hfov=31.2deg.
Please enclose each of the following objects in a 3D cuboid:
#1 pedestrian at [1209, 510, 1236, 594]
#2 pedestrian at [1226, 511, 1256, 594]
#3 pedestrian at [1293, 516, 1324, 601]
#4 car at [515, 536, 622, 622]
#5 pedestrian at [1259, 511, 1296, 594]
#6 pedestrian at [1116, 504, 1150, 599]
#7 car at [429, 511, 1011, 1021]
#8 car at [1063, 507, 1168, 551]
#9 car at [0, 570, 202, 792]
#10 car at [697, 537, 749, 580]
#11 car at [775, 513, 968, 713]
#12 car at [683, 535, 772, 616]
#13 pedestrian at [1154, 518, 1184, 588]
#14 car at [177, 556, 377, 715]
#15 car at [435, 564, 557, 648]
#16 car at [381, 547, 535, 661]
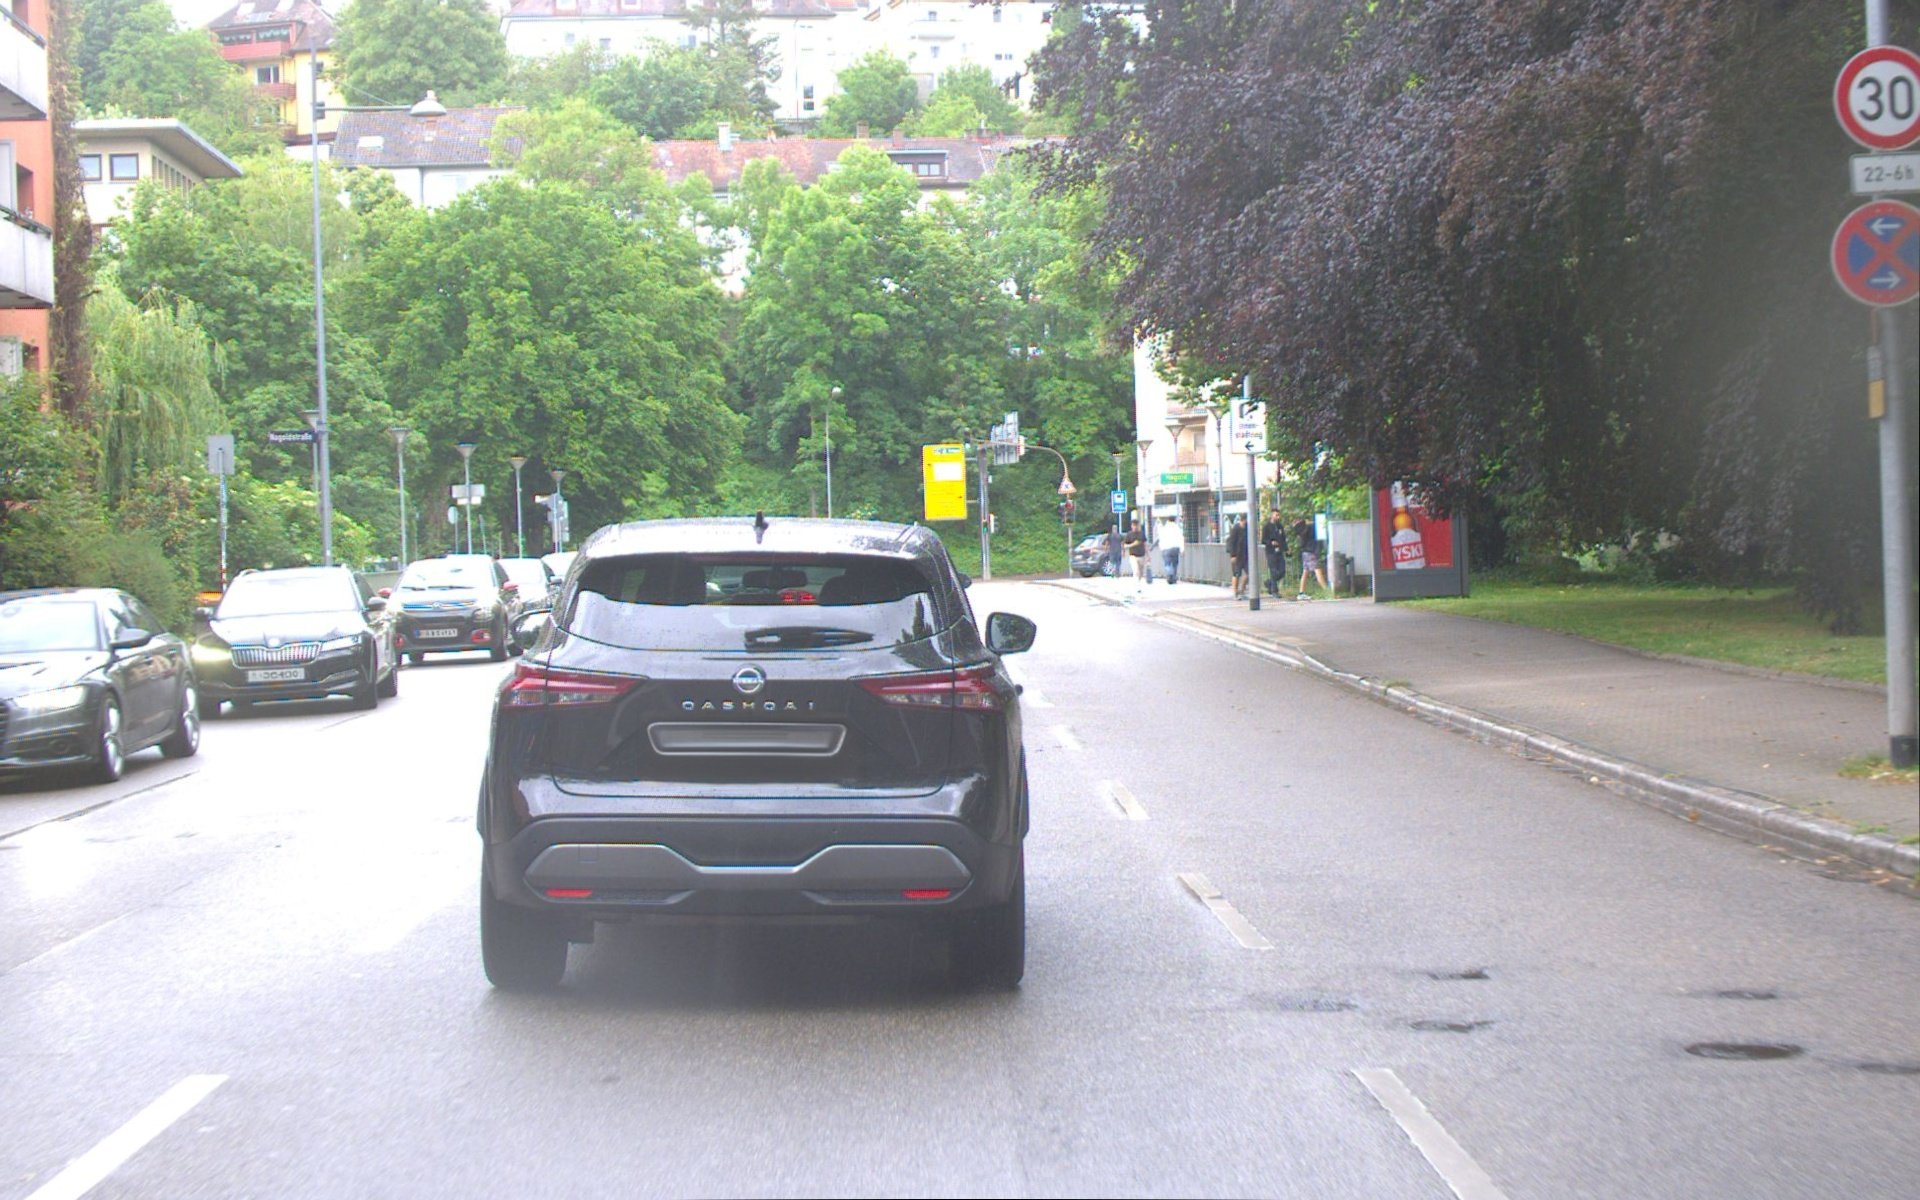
[{"bbox_3d":[5.180,-0.942,67.855,0.475,1.645,0.490,0,0,8],"label":"pedestrian"},{"bbox_3d":[5.588,-0.942,68.337,0.544,1.645,0.490,0,0,8],"label":"pedestrian"},{"bbox_3d":[6.827,-0.816,67.354,0.514,1.650,0.550,0,0,-1],"label":"pedestrian"},{"bbox_3d":[-7.957,-0.445,70.085,1.750,1.628,3.635,-2,1,-1],"label":"car"},{"bbox_3d":[6.341,-0.938,68.685,0.699,1.645,0.628,0,0,8],"label":"pedestrian"},{"bbox_3d":[3.988,-1.115,79.312,0.768,2.176,0.711,0,0,2],"label":"pedestrian"},{"bbox_3d":[-0.793,0.512,12.757,1.806,1.584,4.000,0,0,-1],"label":"car"},{"bbox_3d":[6.540,-2.984,144.650,3.986,1.678,2.001,-3,1,-11],"label":"car"},{"bbox_3d":[-7.020,0.577,25.874,1.775,1.464,4.217,-3,1,-2],"label":"car"},{"bbox_3d":[-8.449,-1.484,122.687,1.718,1.463,3.686,-3,1,-3],"label":"car"},{"bbox_3d":[-0.781,0.086,32.518,1.622,1.703,3.771,-3,1,1],"label":"car"},{"bbox_3d":[-5.336,-0.592,79.218,1.763,1.752,3.635,-2,1,-1],"label":"car"},{"bbox_3d":[5.367,-1.210,88.421,0.618,1.773,0.778,-3,1,-1],"label":"pedestrian"},{"bbox_3d":[-7.084,0.322,35.998,1.747,1.464,4.218,-3,1,-8],"label":"car"},{"bbox_3d":[-7.975,0.085,59.332,1.676,1.291,3.752,-3,1,-2],"label":"car"},{"bbox_3d":[-7.151,0.020,49.309,1.676,1.464,4.217,-3,1,-2],"label":"car"}]
